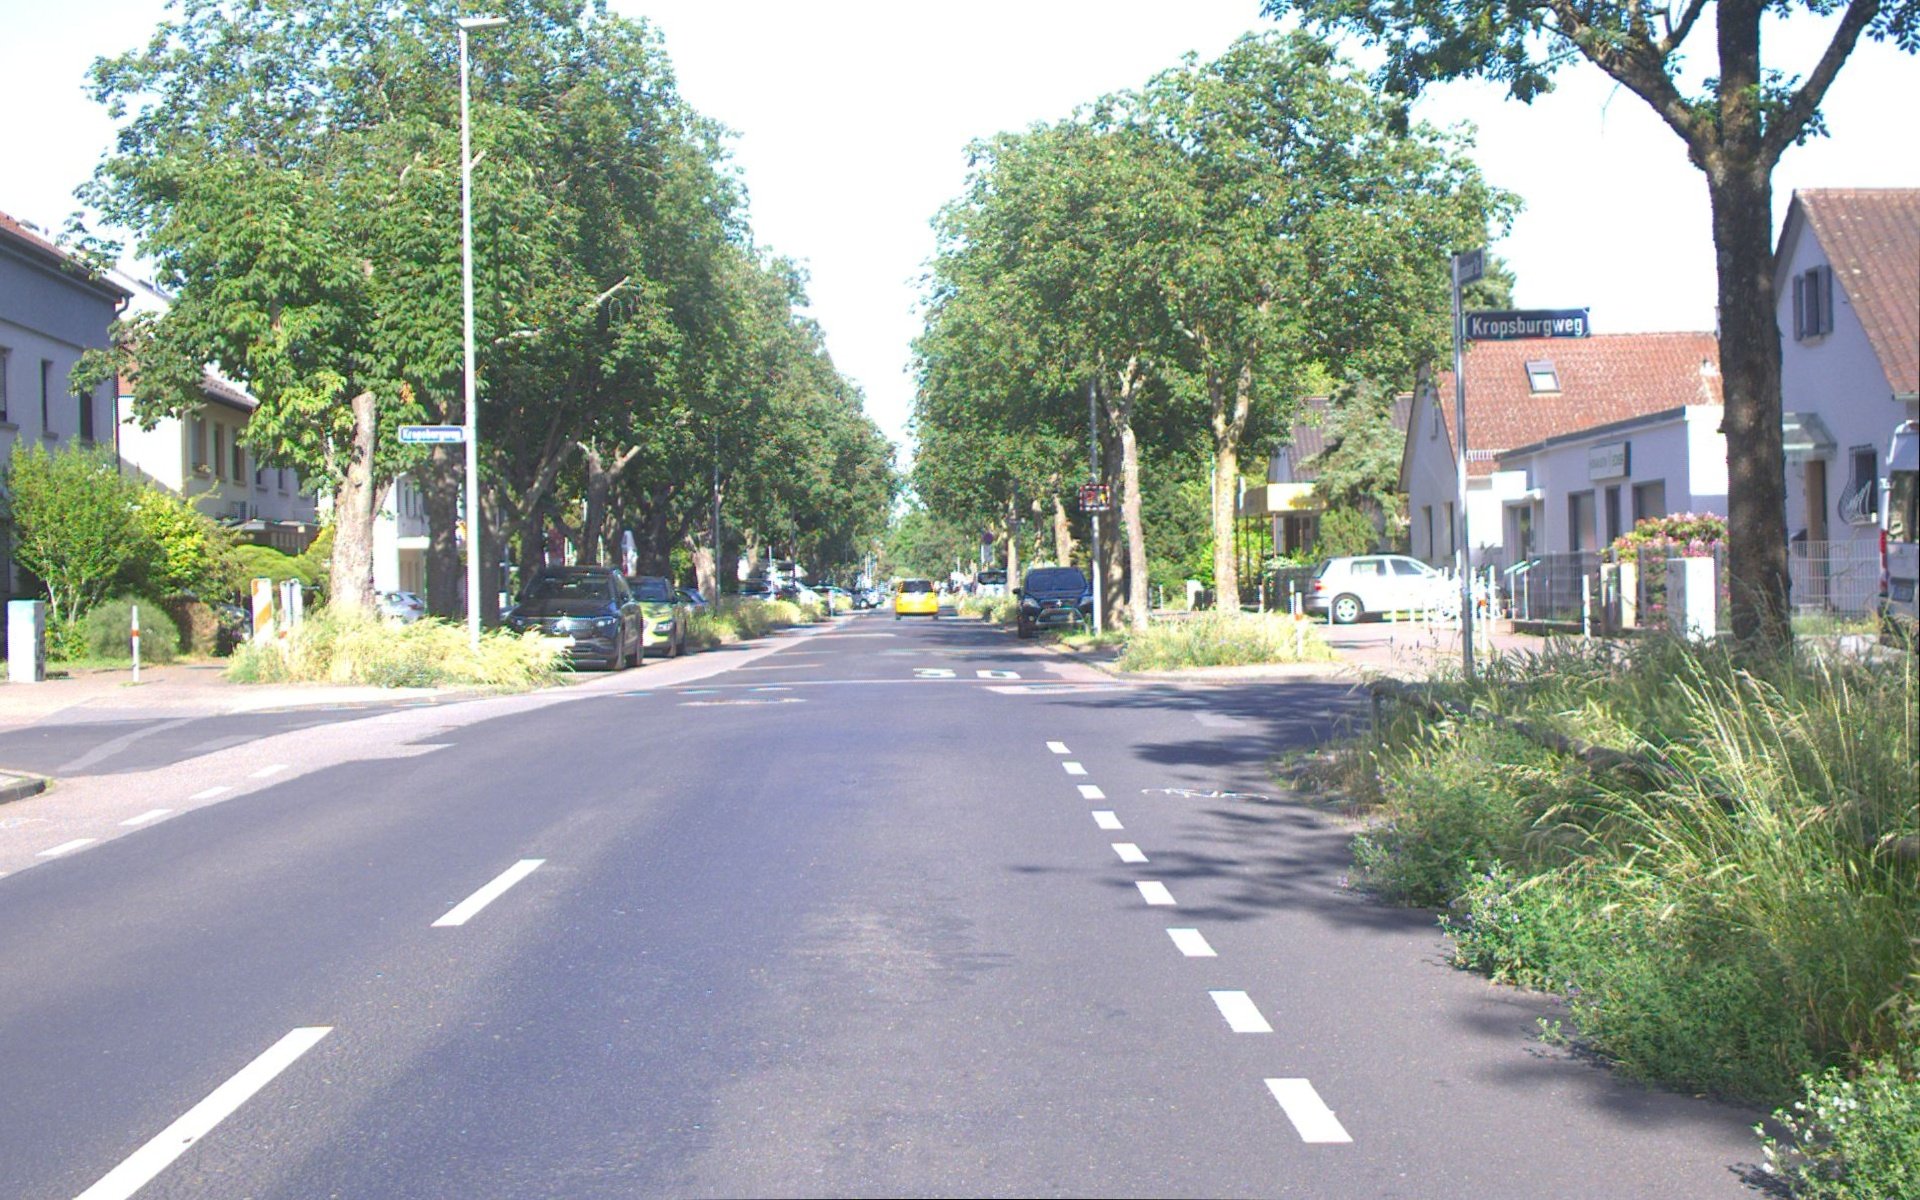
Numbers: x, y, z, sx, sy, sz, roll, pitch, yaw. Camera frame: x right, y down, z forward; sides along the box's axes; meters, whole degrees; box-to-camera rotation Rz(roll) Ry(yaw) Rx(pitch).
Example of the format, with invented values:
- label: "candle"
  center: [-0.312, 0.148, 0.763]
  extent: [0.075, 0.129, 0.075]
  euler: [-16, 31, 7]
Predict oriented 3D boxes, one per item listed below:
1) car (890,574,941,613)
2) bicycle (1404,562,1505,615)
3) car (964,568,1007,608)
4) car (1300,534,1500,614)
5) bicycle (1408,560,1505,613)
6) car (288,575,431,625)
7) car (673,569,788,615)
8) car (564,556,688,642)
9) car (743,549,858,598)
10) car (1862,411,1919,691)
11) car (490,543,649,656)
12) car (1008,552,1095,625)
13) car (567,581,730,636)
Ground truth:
- label: "car"
  center: [-1.755, -0.254, 135.733]
  extent: [1.888, 1.474, 3.888]
  euler: [1, 0, -2]
- label: "bicycle"
  center: [10.265, -0.248, 71.386]
  extent: [1.958, 0.995, 0.576]
  euler: [-3, 2, -2]
- label: "car"
  center: [1.128, -0.555, 155.784]
  extent: [1.902, 1.768, 4.301]
  euler: [0, 0, 0]
- label: "car"
  center: [9.498, -0.576, 74.440]
  extent: [3.987, 1.483, 1.902]
  euler: [-3, 2, -1]
- label: "bicycle"
  center: [10.451, -0.287, 72.379]
  extent: [1.923, 0.995, 0.576]
  euler: [-3, 2, -2]
- label: "car"
  center: [-20.222, -0.012, 115.941]
  extent: [4.554, 1.612, 2.000]
  euler: [0, 2, -4]
- label: "car"
  center: [-9.143, -0.323, 136.833]
  extent: [4.545, 1.759, 2.001]
  euler: [0, 2, -5]
- label: "car"
  center: [-6.459, 0.009, 66.857]
  extent: [1.939, 1.603, 4.383]
  euler: [0, -1, 0]
- label: "car"
  center: [-7.630, -1.267, 164.814]
  extent: [5.498, 2.240, 2.517]
  euler: [0, 2, -2]
- label: "car"
  center: [11.431, -0.511, 31.640]
  extent: [5.594, 2.530, 2.266]
  euler: [-1, 1, -3]
- label: "car"
  center: [-6.207, 0.013, 55.156]
  extent: [1.953, 1.721, 4.875]
  euler: [0, -1, 0]
- label: "car"
  center: [2.170, -0.255, 82.641]
  extent: [1.853, 1.620, 4.469]
  euler: [-3, 0, -1]
- label: "car"
  center: [-8.973, 0.229, 99.380]
  extent: [4.554, 1.506, 1.841]
  euler: [0, 2, -1]
